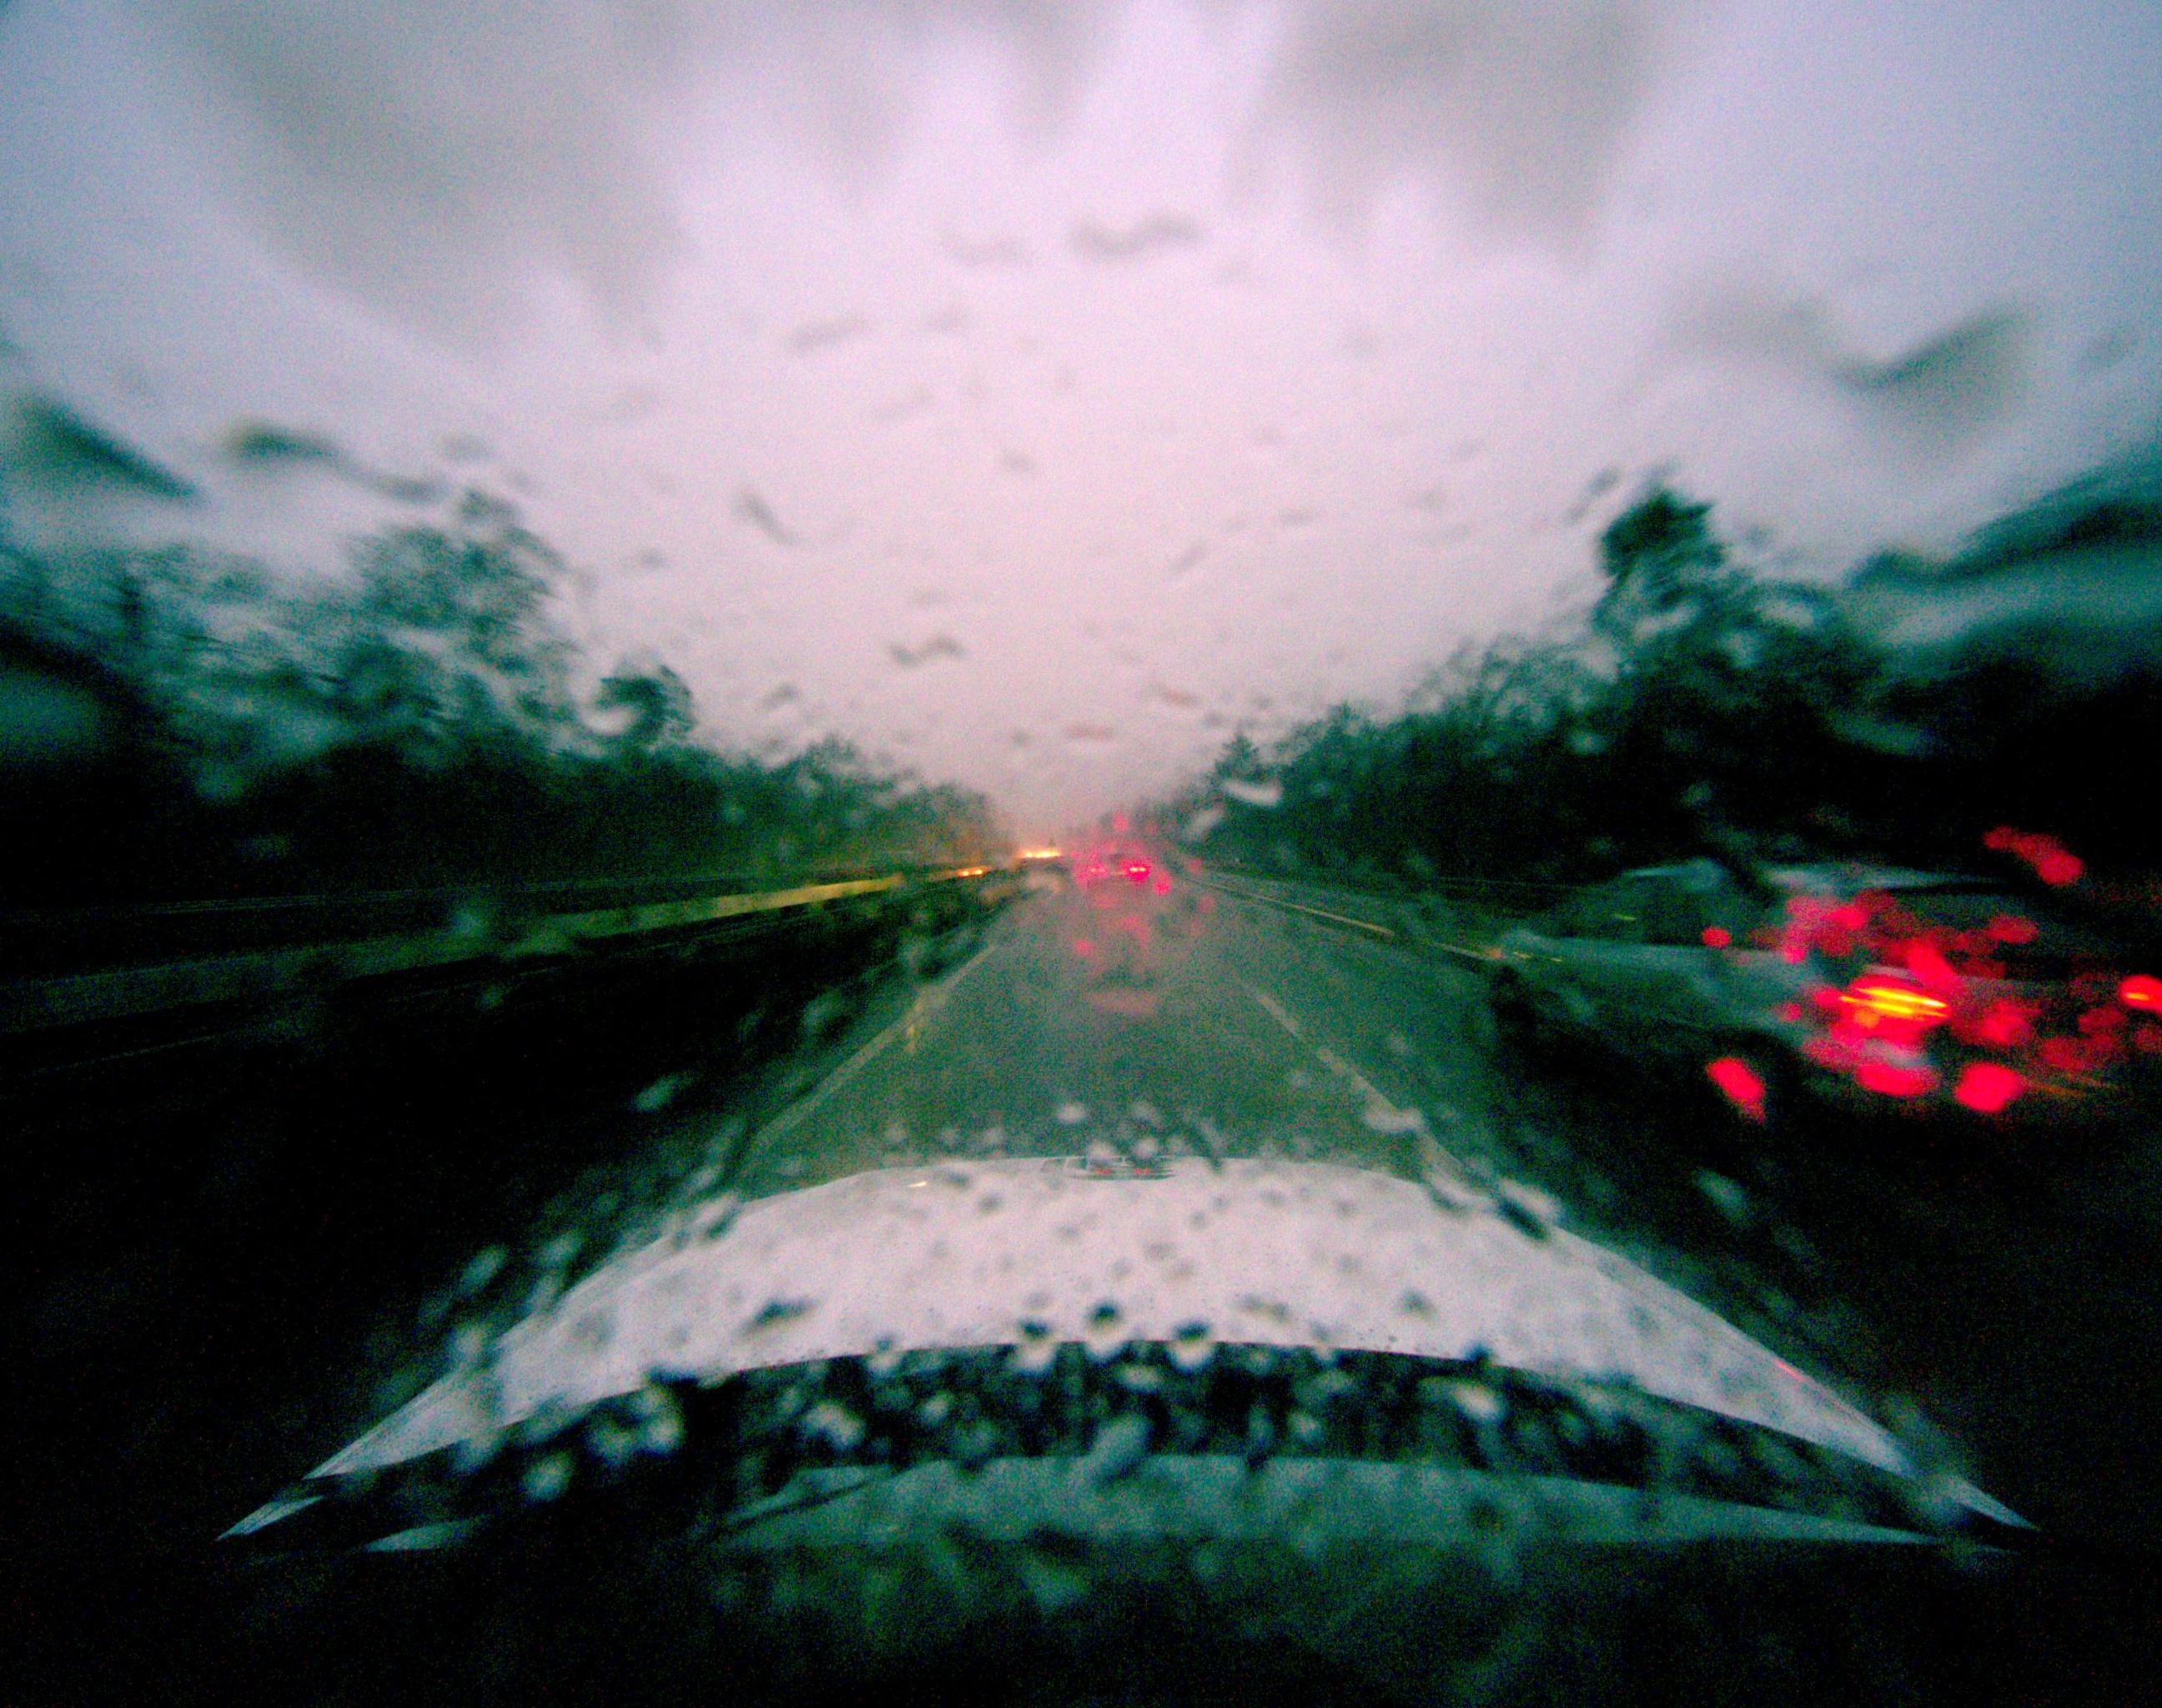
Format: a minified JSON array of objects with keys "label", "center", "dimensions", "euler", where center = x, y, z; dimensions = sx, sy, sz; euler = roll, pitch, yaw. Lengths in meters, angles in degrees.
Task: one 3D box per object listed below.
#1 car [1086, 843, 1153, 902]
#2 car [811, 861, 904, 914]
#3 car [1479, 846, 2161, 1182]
[{"label":"car","center":[1.183,0.581,26.670],"dimensions":[1.919,1.791,3.938],"euler":[0,-1,-1]},{"label":"car","center":[-7.290,1.042,26.984],"dimensions":[1.672,1.578,4.424],"euler":[0,-1,2]},{"label":"car","center":[4.052,0.673,5.066],"dimensions":[1.593,1.365,3.306],"euler":[-2,0,2]}]
